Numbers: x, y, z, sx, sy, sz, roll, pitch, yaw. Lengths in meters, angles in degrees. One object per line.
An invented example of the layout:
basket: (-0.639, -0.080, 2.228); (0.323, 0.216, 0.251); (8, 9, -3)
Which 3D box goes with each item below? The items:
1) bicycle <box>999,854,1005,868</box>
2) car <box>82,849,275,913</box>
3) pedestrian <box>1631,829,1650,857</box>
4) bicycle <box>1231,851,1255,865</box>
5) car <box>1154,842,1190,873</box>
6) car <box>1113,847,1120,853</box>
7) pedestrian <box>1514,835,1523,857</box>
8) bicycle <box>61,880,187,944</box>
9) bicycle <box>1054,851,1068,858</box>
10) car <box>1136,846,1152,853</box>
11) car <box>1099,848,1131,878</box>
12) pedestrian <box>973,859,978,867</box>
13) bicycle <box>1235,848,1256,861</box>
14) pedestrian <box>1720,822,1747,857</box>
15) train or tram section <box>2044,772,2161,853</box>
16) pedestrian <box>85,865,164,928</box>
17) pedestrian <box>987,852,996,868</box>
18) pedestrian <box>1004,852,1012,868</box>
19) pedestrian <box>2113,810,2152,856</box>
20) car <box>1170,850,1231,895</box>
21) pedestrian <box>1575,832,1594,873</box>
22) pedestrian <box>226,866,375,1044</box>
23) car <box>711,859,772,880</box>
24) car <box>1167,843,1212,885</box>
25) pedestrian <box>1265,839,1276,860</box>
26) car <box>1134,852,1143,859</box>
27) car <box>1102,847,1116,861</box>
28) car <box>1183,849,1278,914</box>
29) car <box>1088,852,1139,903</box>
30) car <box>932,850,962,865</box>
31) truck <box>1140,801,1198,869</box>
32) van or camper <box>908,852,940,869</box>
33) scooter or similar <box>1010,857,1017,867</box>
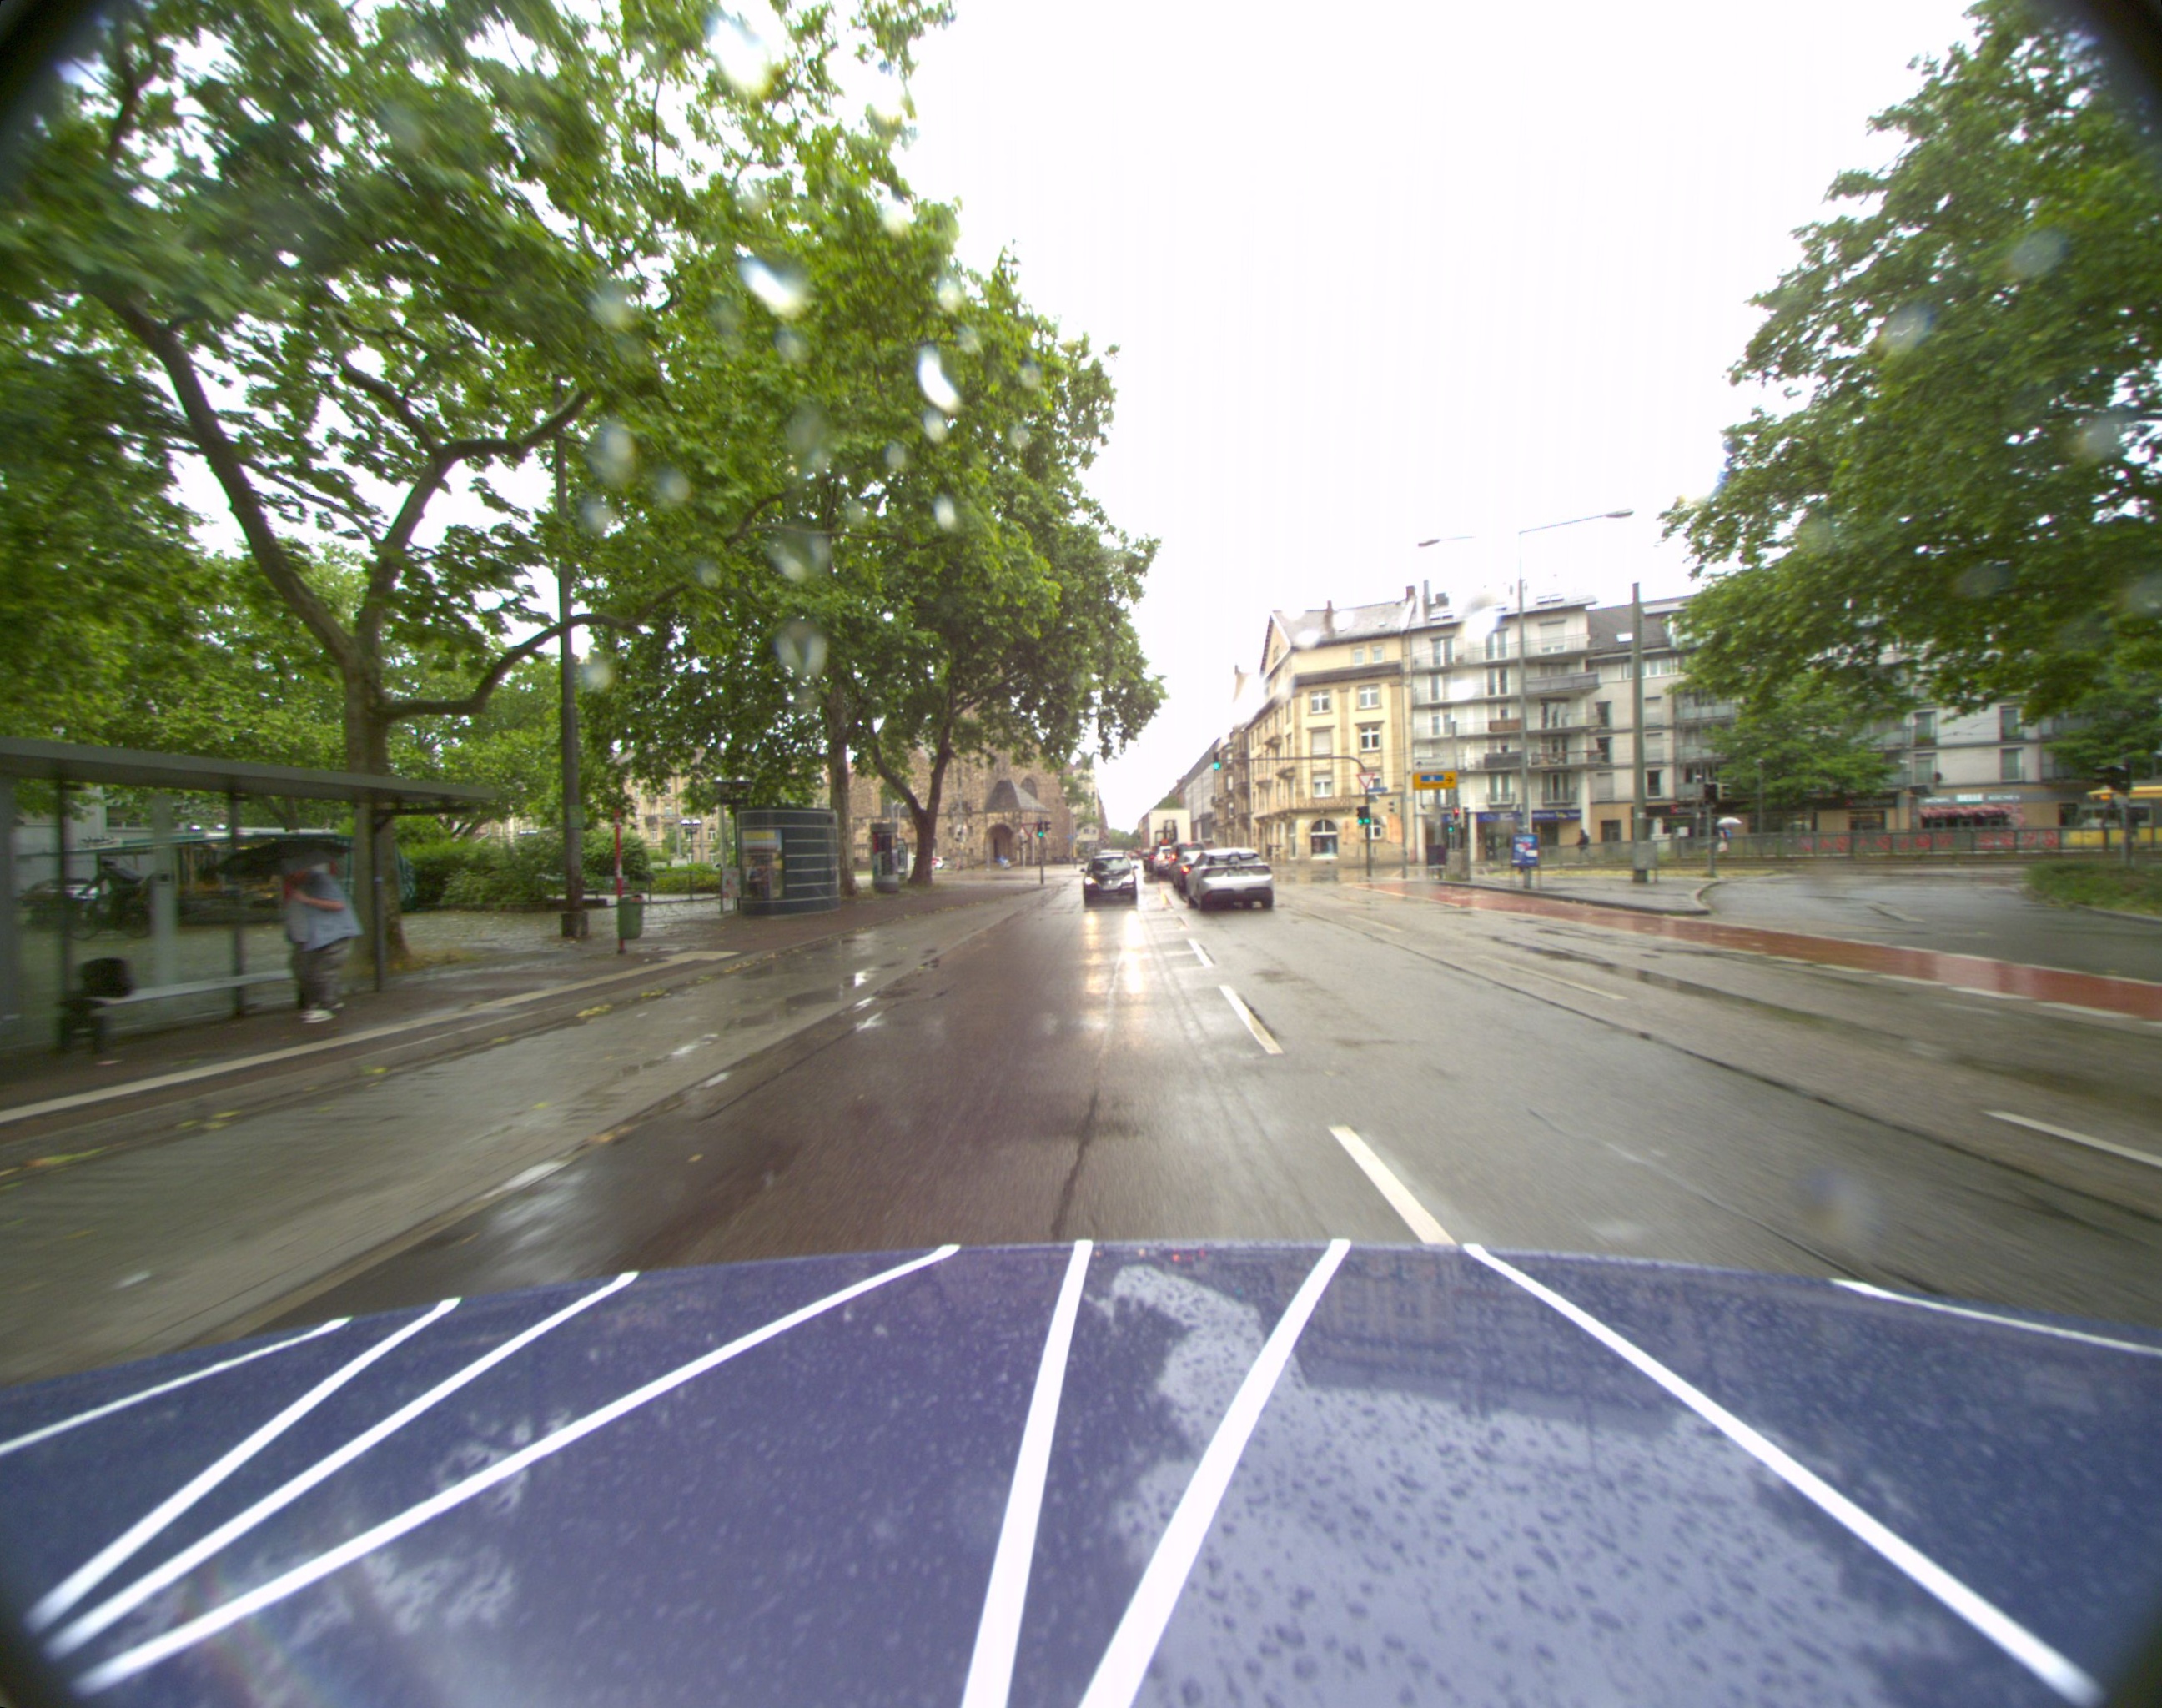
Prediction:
bicycle: (-8.351, 0.735, 80.416); (0.533, 1.458, 1.939); (-1, 0, -6)
car: (-31.080, 0.862, 26.322); (1.950, 2.002, 3.875); (-1, 1, 25)
pedestrian: (33.040, -0.666, 44.880); (0.754, 1.639, 0.839); (0, 1, 24)
bicycle: (16.439, 0.437, 77.113); (2.346, 1.338, 0.640); (-1, 1, -1)
car: (4.935, 0.162, 41.690); (1.746, 1.595, 4.001); (-2, 1, 4)
car: (11.377, -1.234, 243.129); (1.997, 1.705, 3.804); (-1, 0, 7)
pedestrian: (34.702, -0.635, 60.276); (0.610, 1.770, 0.500); (-1, 1, 28)
bicycle: (-21.943, 1.304, 17.429); (2.702, 1.369, 0.752); (-1, 1, 15)
bicycle: (-2.897, 0.052, 110.517); (1.923, 1.054, 0.582); (-1, 1, 25)
car: (17.588, -1.260, 211.876); (3.808, 1.705, 1.995); (-1, 1, -30)
car: (2.129, 0.501, 46.040); (1.811, 1.683, 4.110); (-2, 1, 4)
pedestrian: (-11.863, 1.059, 85.540); (0.455, 0.879, 0.397); (-1, 1, 24)
bicycle: (16.775, 0.066, 77.503); (2.062, 1.338, 0.585); (-1, 1, -2)
pedestrian: (30.953, -0.674, 36.053); (0.815, 1.639, 0.795); (0, 1, 26)
train or tram section: (50.966, -1.924, 32.698); (11.547, 3.484, 3.078); (-1, 1, 27)
pedestrian: (-21.914, 0.965, 17.420); (1.045, 1.390, 0.747); (0, 1, 15)
pedestrian: (-9.848, 0.647, 83.414); (0.676, 1.693, 0.635); (-1, 1, 41)
pedestrian: (-7.713, 0.591, 80.366); (0.604, 1.654, 0.689); (-1, 0, 6)
pedestrian: (41.808, -0.822, 30.215); (0.677, 1.828, 0.641); (0, 1, 26)
car: (4.299, 0.626, 27.845); (1.746, 1.382, 4.363); (-3, 1, 4)
pedestrian: (25.537, -0.071, 38.544); (0.701, 2.065, 0.638); (-1, 1, 22)
pedestrian: (-7.733, 0.968, 7.562); (0.718, 1.659, 0.665); (-2, 1, 0)
car: (-26.545, 1.205, 59.411); (4.543, 1.590, 1.795); (-1, 0, 26)
car: (5.132, 0.420, 36.370); (1.811, 1.851, 4.110); (-2, 1, 4)
pedestrian: (18.253, -0.406, 73.259); (0.919, 1.955, 0.701); (-2, 4, 14)
car: (12.121, 0.286, 159.429); (1.747, 1.537, 3.779); (-1, 0, 2)
car: (4.181, -0.020, 113.459); (1.908, 1.911, 5.273); (-1, 0, 3)
car: (3.832, 0.633, 20.139); (1.849, 1.501, 4.055); (-2, 1, 2)
car: (1.129, 0.730, 25.747); (1.547, 1.553, 4.071); (-1, 0, 3)
car: (-16.006, 0.422, 90.757); (1.732, 1.565, 3.363); (-1, 4, 30)
truck: (5.618, -1.146, 50.288); (2.852, 4.002, 10.316); (-1, 0, 1)
van or camper: (-19.004, 0.752, 92.167); (1.644, 1.719, 3.934); (-1, 4, 27)
scooter or similar: (-7.126, 0.890, 80.243); (0.514, 1.042, 0.924); (-1, 0, 6)
